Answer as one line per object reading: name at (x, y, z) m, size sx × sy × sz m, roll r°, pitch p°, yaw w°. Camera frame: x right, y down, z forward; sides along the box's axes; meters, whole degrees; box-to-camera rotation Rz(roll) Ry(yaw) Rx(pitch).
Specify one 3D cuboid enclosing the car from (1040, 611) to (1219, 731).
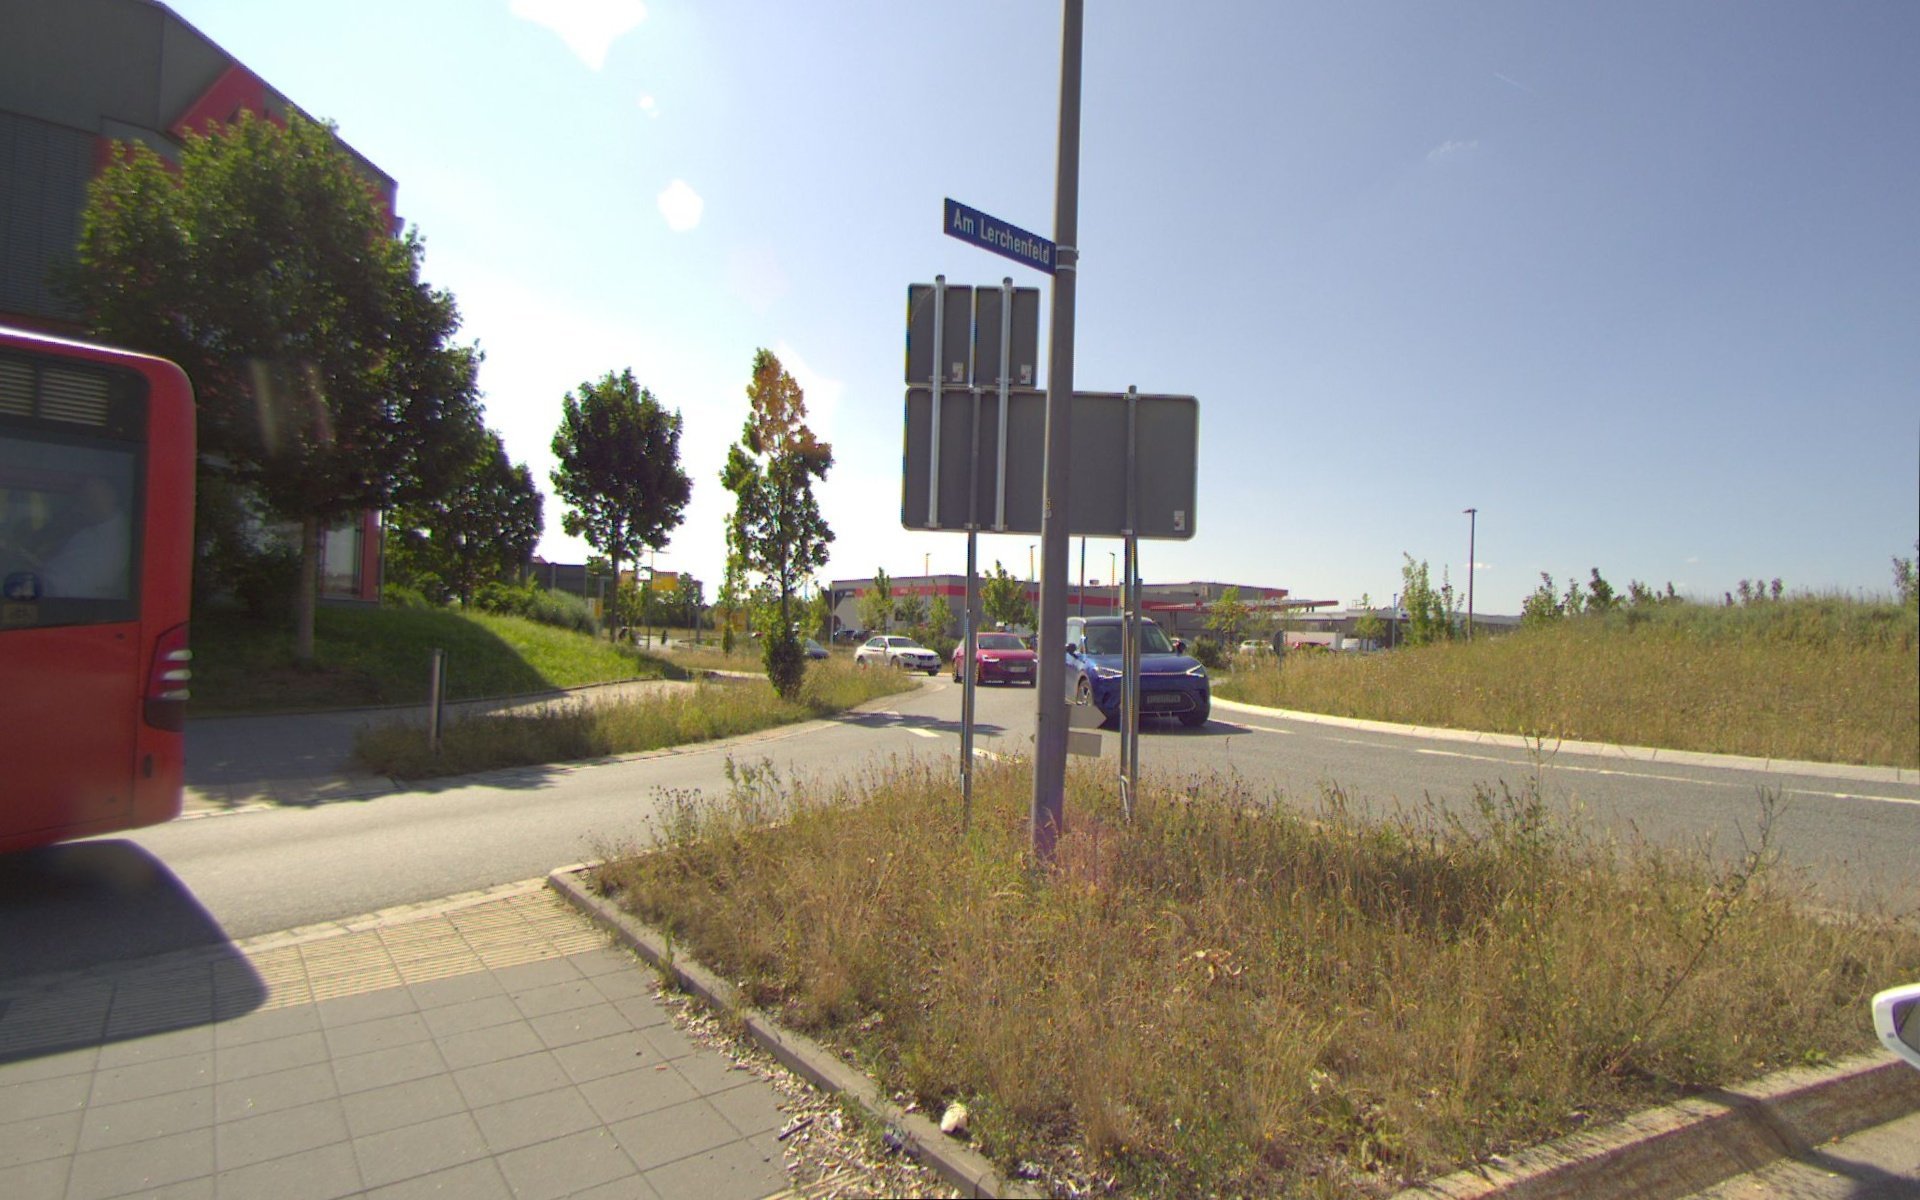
car at (2.526, 1.069, 15.973) m, size 1.822 × 1.657 × 4.078 m, roll 1°, pitch -2°, yaw -5°

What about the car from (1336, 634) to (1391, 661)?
car at (33.624, 3.969, 83.597) m, size 5.093 × 2.040 × 1.978 m, roll 4°, pitch -3°, yaw -39°

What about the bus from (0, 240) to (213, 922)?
bus at (-8.993, -0.211, 1.952) m, size 2.581 × 3.284 × 11.815 m, roll -1°, pitch -3°, yaw 42°

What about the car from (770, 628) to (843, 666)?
car at (-6.764, 2.021, 43.884) m, size 1.628 × 1.507 × 3.866 m, roll 1°, pitch -1°, yaw -35°

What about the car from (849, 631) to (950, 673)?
car at (-2.317, 1.906, 37.446) m, size 1.779 × 1.434 × 4.340 m, roll 3°, pitch -3°, yaw -35°

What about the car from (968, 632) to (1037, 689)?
car at (1.183, 1.658, 28.034) m, size 1.772 × 1.434 × 4.119 m, roll 1°, pitch -2°, yaw 2°

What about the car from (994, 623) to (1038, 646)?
car at (5.342, 3.262, 95.559) m, size 3.968 × 2.040 × 1.977 m, roll 3°, pitch -2°, yaw -40°

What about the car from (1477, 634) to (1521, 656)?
car at (47.762, 3.988, 89.006) m, size 3.964 × 1.754 × 1.979 m, roll 4°, pitch -3°, yaw -37°
